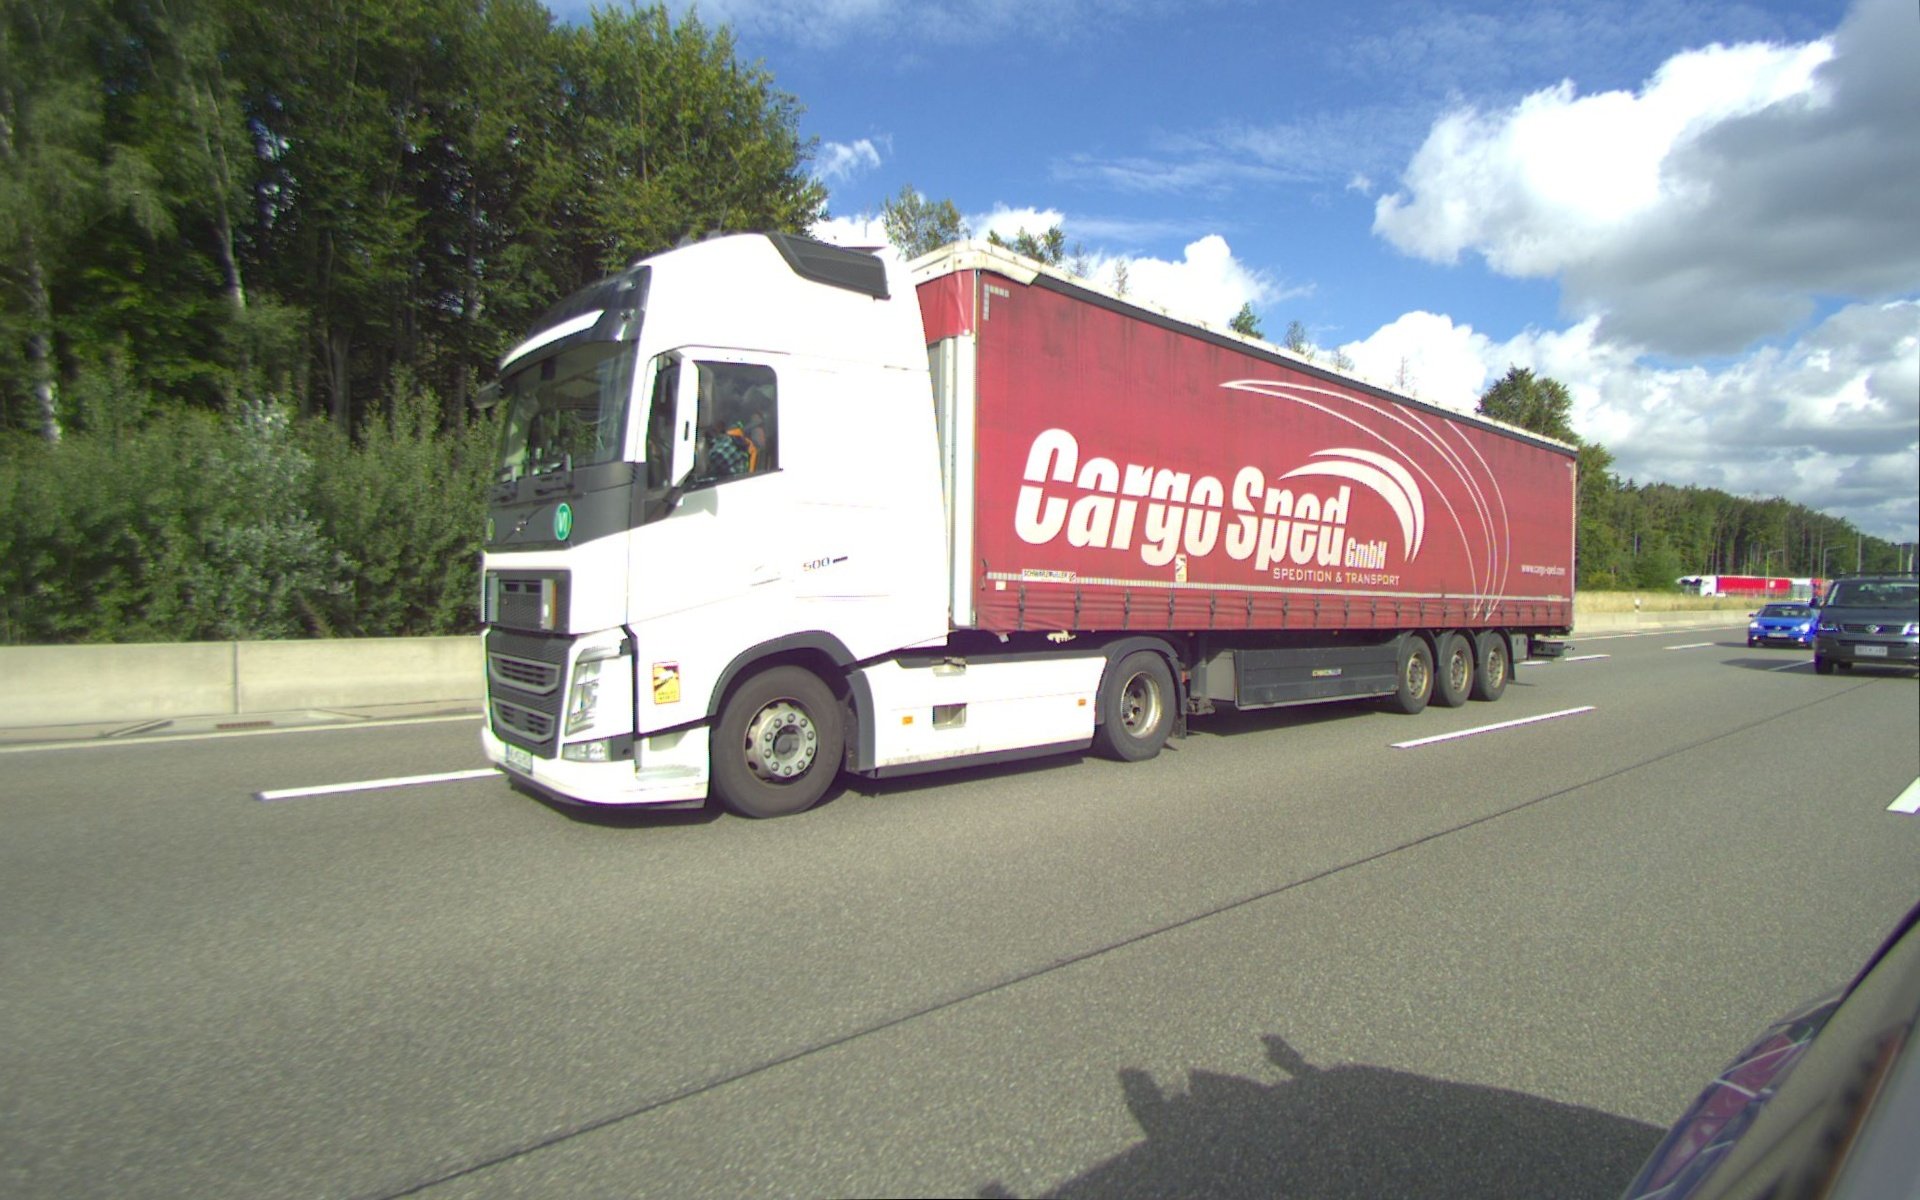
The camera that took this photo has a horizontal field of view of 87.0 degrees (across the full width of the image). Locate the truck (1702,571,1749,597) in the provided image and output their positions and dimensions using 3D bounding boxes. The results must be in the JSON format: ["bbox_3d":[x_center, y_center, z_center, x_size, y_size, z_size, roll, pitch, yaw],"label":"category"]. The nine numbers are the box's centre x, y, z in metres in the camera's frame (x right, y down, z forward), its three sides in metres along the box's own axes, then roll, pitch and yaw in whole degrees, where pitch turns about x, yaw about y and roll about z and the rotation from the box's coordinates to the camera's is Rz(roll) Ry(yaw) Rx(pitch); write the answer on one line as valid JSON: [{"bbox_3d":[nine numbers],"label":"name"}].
[{"bbox_3d":[137.338,-2.881,181.563,5.987,4.564,2.878,0,0,4],"label":"truck"}]

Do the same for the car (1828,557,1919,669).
[{"bbox_3d":[19.717,0.242,21.058,4.846,2.136,1.852,0,0,-41],"label":"car"}]

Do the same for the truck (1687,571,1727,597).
[{"bbox_3d":[136.876,-2.966,185.444,5.029,4.564,2.895,1,1,3],"label":"truck"}]

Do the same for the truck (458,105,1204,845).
[{"bbox_3d":[-0.784,-0.712,8.536,5.673,4.096,2.778,0,0,-41],"label":"truck"}]

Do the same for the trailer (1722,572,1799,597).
[{"bbox_3d":[143.208,-2.756,181.144,11.180,4.429,2.842,1,0,4],"label":"trailer"}]

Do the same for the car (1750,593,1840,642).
[{"bbox_3d":[26.504,0.518,32.096,3.931,1.460,1.652,0,1,-42],"label":"car"}]

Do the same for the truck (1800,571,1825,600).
[{"bbox_3d":[138.164,-2.339,163.978,2.869,4.563,7.072,2,2,41],"label":"truck"}]

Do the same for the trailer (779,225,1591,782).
[{"bbox_3d":[4.250,-0.734,12.966,13.475,4.096,2.778,0,0,-42],"label":"trailer"}]
